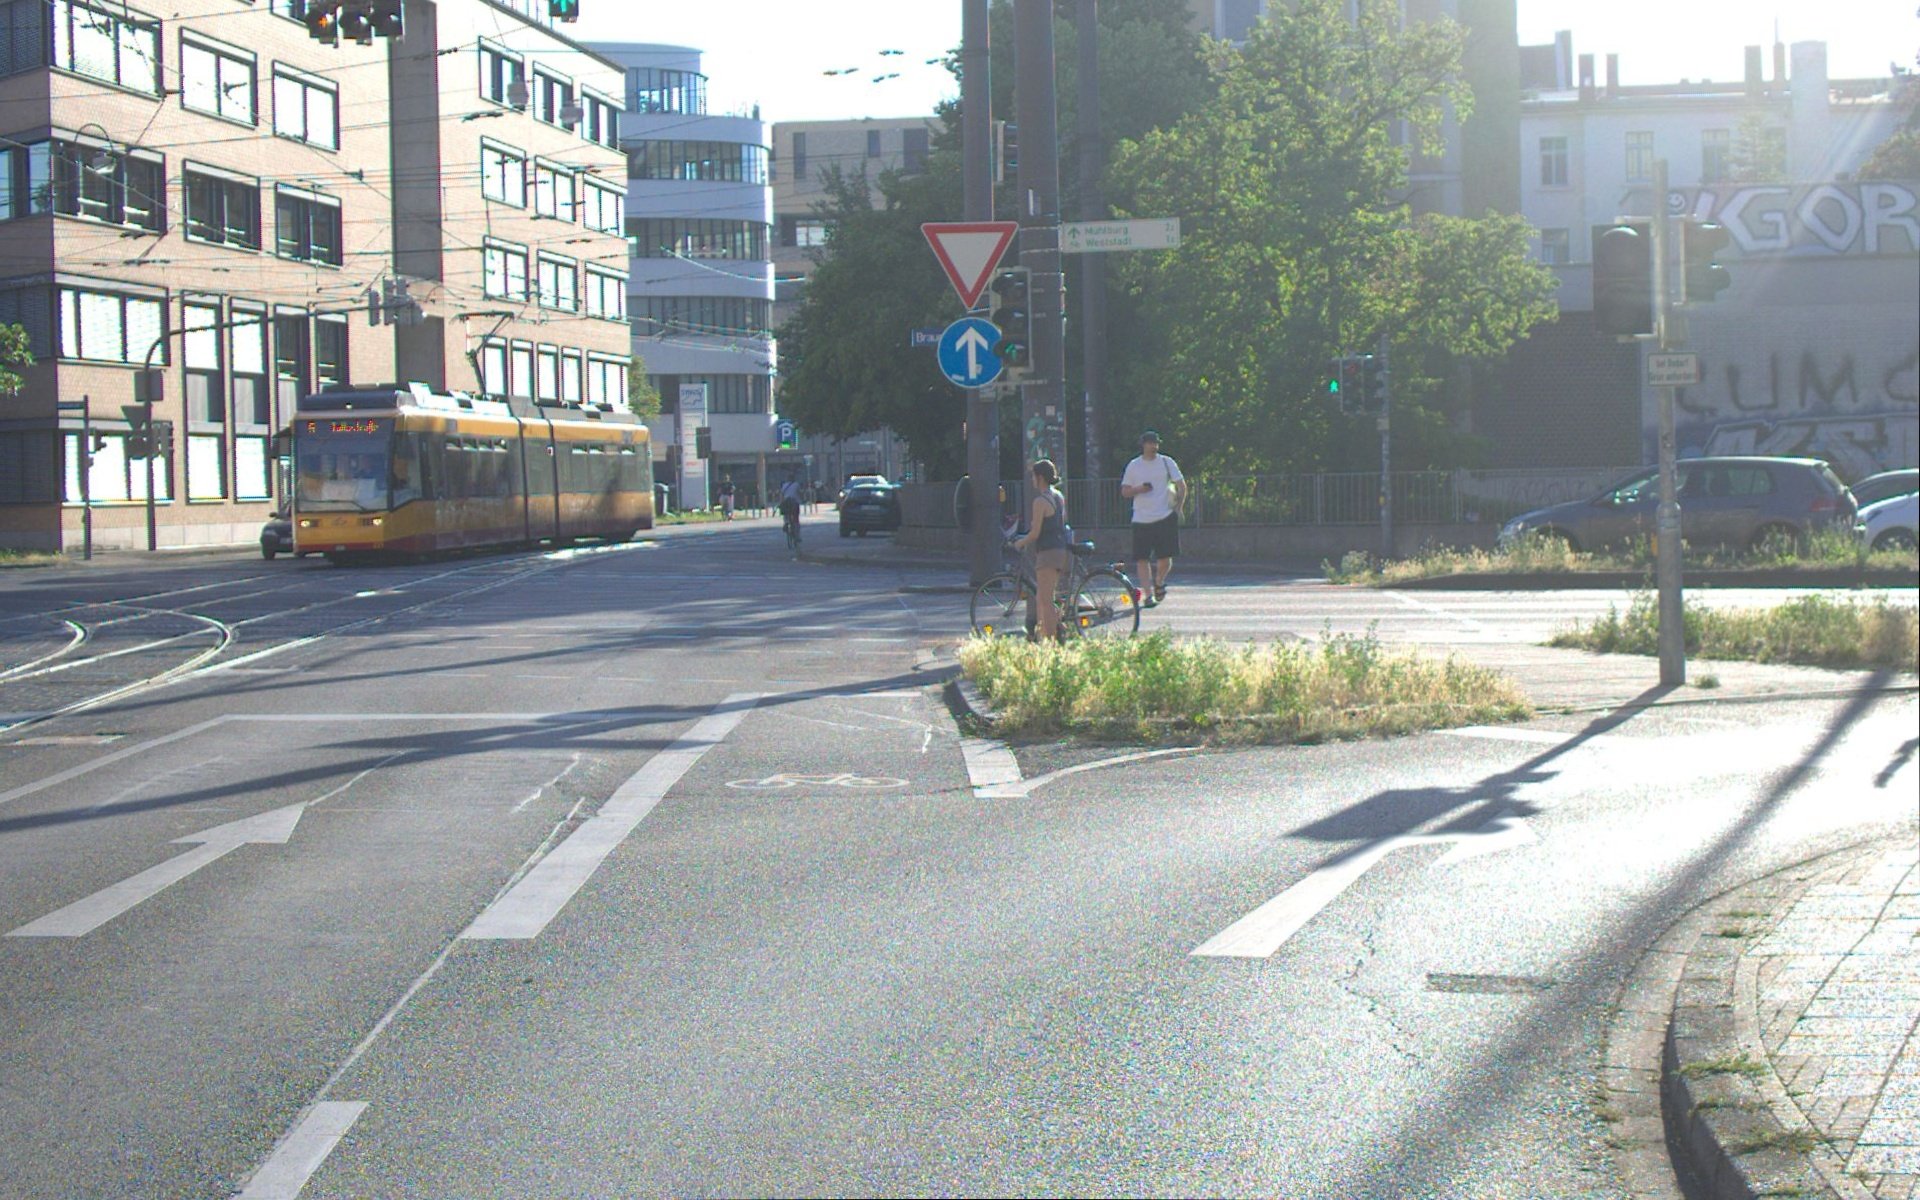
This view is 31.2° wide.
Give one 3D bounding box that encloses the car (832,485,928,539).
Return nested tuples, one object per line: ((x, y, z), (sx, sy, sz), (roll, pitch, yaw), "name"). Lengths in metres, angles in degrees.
((-2.122, -2.371, 92.350), (1.785, 1.383, 3.999), (-1, 2, 11), "car")

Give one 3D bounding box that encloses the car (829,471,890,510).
((-4.269, -4.697, 147.064), (1.816, 1.609, 4.464), (-1, 2, 8), "car")

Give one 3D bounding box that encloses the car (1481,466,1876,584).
((8.405, -0.875, 40.219), (4.240, 1.292, 1.722), (0, 2, 25), "car")

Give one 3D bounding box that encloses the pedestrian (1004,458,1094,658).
((0.735, -0.351, 28.335), (0.525, 1.626, 0.488), (0, 2, 42), "pedestrian")

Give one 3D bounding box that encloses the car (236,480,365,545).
((-14.509, -1.945, 75.838), (1.809, 1.375, 4.163), (-1, 2, 3), "car")

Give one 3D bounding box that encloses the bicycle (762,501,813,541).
((-3.864, -1.780, 77.136), (0.695, 0.874, 2.026), (-1, 2, 10), "bicycle")

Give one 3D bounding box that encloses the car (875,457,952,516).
((-1.493, -3.659, 111.509), (1.994, 1.809, 3.999), (1, 1, 6), "car")

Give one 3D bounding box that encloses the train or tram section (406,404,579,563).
((-10.714, -2.684, 79.230), (2.861, 3.495, 5.303), (-1, 2, 4), "train or tram section")

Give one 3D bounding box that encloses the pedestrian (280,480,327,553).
((-18.376, -2.334, 96.299), (1.009, 2.007, 0.871), (-1, 1, 10), "pedestrian")

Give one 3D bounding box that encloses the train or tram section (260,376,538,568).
((-11.192, -2.569, 70.156), (2.861, 3.495, 13.015), (-1, 2, 3), "train or tram section")

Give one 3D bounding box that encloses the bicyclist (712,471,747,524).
((-8.848, -3.930, 132.137), (1.030, 2.007, 1.246), (1, 1, 11), "bicyclist")

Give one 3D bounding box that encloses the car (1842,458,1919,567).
((12.939, -1.104, 42.234), (3.886, 1.314, 1.723), (0, 2, 21), "car")

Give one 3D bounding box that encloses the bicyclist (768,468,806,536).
((-3.879, -2.195, 77.082), (0.674, 1.517, 0.813), (-1, 2, 10), "bicyclist")

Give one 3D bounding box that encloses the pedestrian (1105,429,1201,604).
((2.016, -0.866, 35.763), (0.909, 1.782, 0.827), (-1, 2, 7), "pedestrian")

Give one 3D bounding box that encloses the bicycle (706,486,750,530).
((-8.891, -3.544, 132.004), (1.030, 1.645, 2.559), (-1, 2, 11), "bicycle")

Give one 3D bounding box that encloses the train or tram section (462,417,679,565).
((-9.752, -2.779, 87.579), (2.861, 3.495, 11.295), (-1, 2, 7), "train or tram section")

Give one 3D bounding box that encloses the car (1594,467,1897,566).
((10.886, -1.158, 47.617), (3.886, 1.292, 1.723), (0, 2, 21), "car")

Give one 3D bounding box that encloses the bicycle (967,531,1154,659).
((0.822, -0.048, 28.423), (1.670, 1.025, 0.398), (0, 2, 42), "bicycle")
